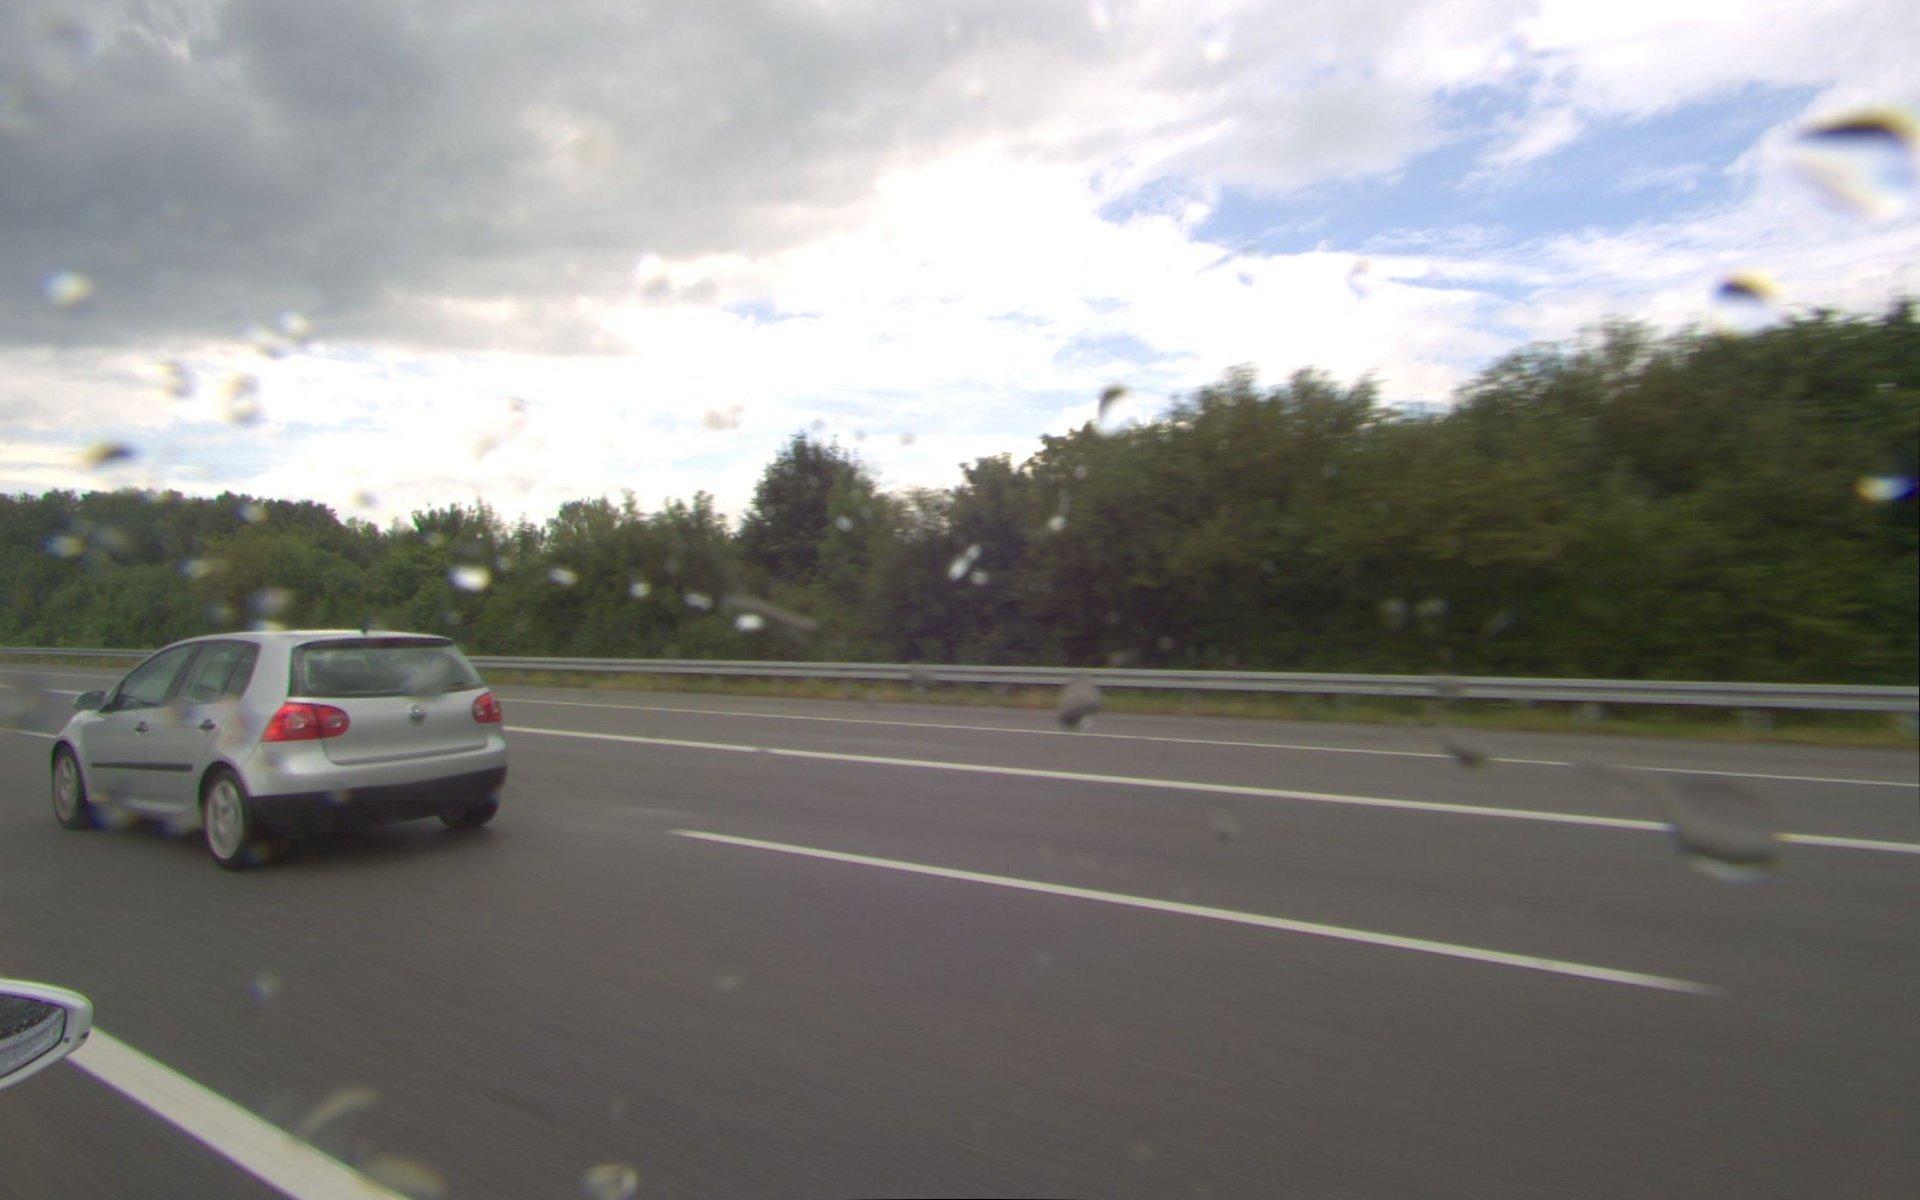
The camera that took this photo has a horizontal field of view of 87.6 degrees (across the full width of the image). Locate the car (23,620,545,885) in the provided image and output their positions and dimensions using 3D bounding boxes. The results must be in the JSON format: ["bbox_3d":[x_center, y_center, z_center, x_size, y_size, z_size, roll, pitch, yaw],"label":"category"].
[{"bbox_3d":[-5.128,0.904,7.487,3.979,1.496,1.792,-1,-1,32],"label":"car"}]
